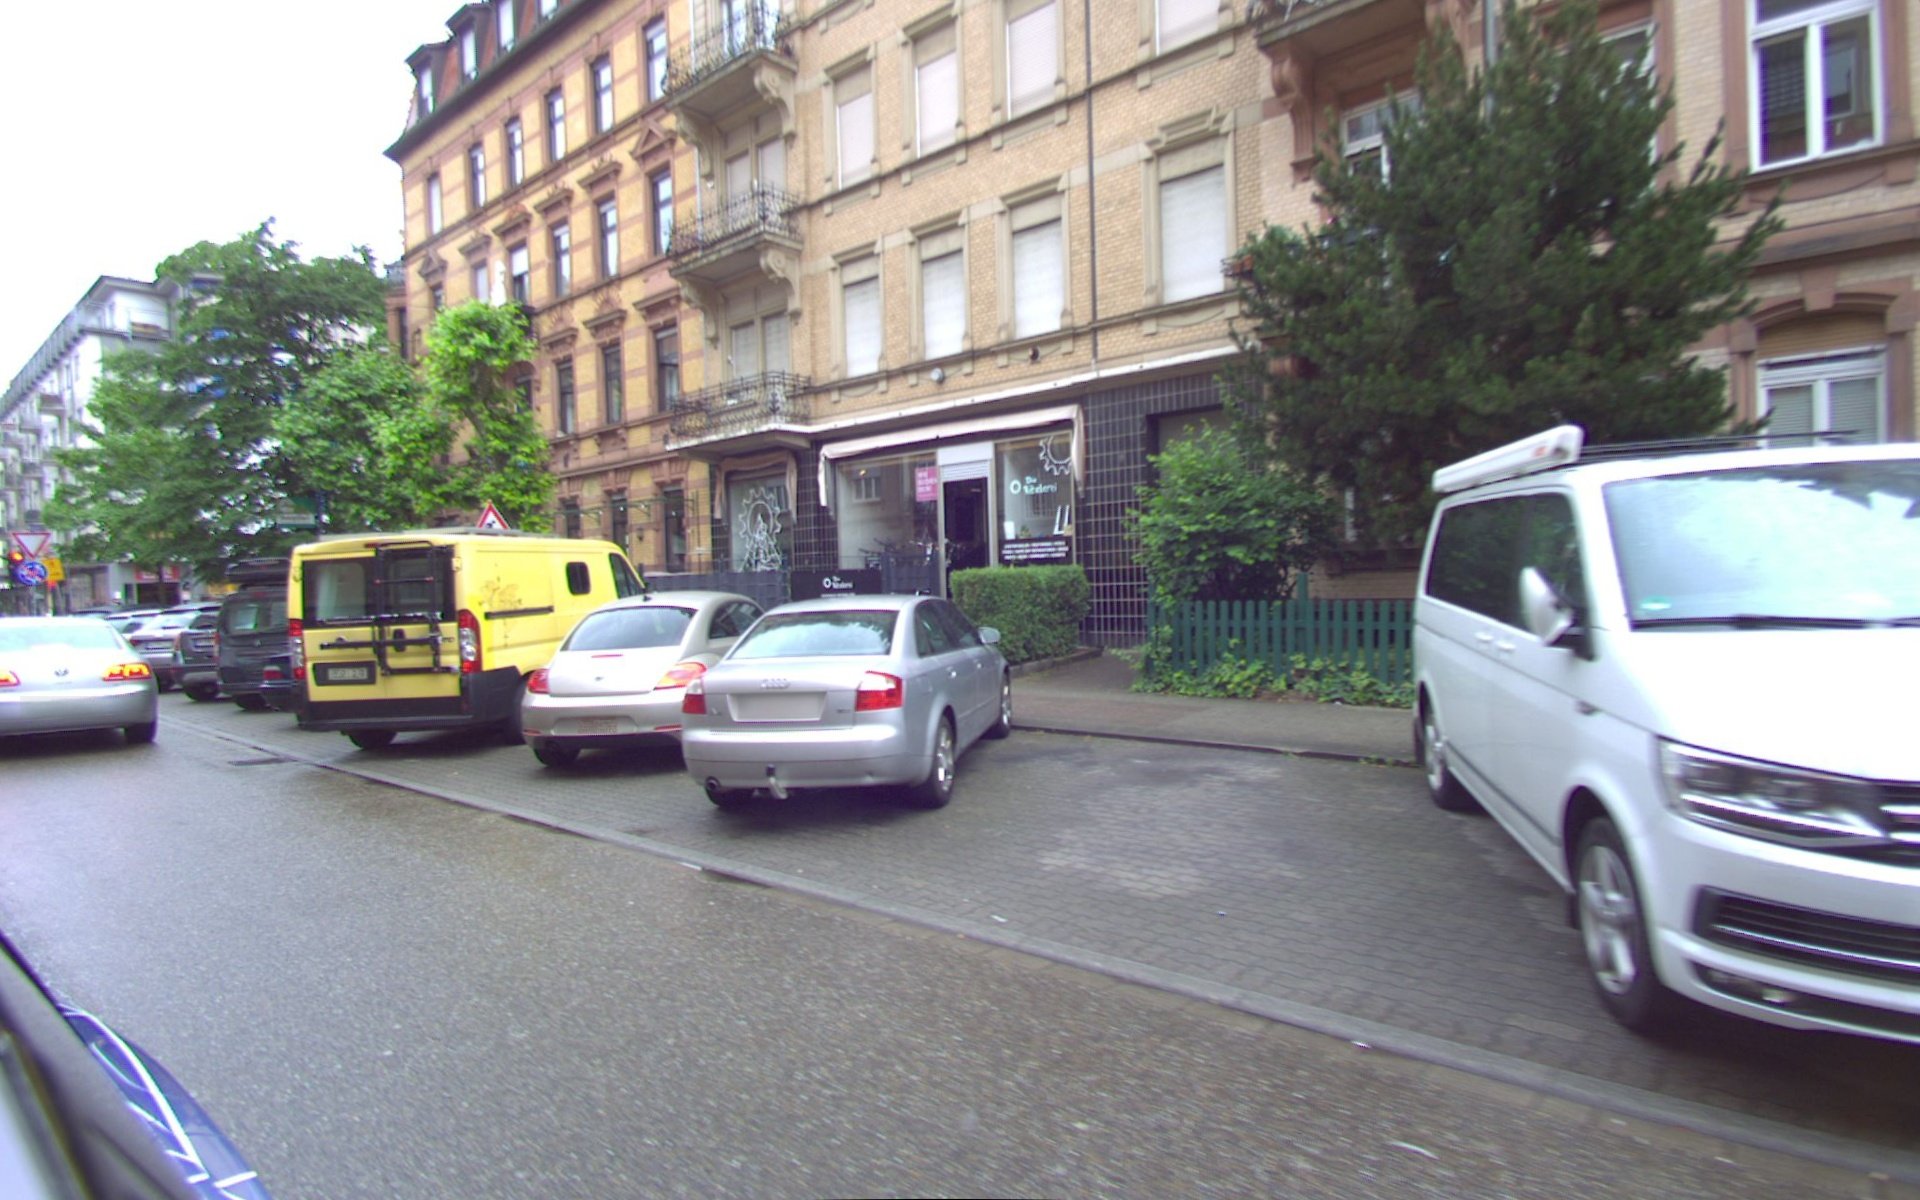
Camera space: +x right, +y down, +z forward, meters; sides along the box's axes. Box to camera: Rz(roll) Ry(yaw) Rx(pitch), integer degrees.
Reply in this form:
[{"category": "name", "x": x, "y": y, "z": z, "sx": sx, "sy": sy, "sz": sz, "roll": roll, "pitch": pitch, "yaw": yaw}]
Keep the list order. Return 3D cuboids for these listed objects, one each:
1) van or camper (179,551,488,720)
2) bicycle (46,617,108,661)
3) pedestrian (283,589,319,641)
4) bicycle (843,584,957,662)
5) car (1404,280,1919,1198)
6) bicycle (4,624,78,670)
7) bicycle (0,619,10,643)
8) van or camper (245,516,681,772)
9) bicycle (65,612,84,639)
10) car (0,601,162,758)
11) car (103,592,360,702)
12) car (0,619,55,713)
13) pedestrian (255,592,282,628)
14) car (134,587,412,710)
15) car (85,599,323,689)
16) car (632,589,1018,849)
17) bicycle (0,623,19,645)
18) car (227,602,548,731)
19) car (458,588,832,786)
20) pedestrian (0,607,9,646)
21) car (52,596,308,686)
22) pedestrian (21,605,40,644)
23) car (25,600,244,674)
[{"category": "van or camper", "x": -9.598, "y": 0.403, "z": 15.985, "sx": 1.915, "sy": 2.255, "sz": 4.075, "roll": -1, "pitch": 3, "yaw": 8}, {"category": "bicycle", "x": -24.090, "y": 1.060, "z": 27.608, "sx": 1.667, "sy": 1.152, "sz": 0.397, "roll": -1, "pitch": 1, "yaw": 16}, {"category": "pedestrian", "x": -26.388, "y": 0.578, "z": 40.551, "sx": 0.929, "sy": 2.029, "sz": 0.866, "roll": -2, "pitch": 1, "yaw": -14}, {"category": "bicycle", "x": -0.934, "y": 0.342, "z": 16.224, "sx": 0.631, "sy": 1.183, "sz": 2.018, "roll": -1, "pitch": 0, "yaw": 38}, {"category": "car", "x": 3.454, "y": 0.241, "z": 4.647, "sx": 1.853, "sy": 2.094, "sz": 5.227, "roll": -1, "pitch": 1, "yaw": 16}, {"category": "bicycle", "x": -24.651, "y": 1.261, "z": 27.141, "sx": 1.665, "sy": 1.152, "sz": 0.585, "roll": -1, "pitch": 1, "yaw": 13}, {"category": "bicycle", "x": -50.007, "y": 1.685, "z": 51.774, "sx": 1.994, "sy": 1.204, "sz": 0.551, "roll": -6, "pitch": 3, "yaw": -44}, {"category": "van or camper", "x": -5.300, "y": 0.327, "z": 11.758, "sx": 2.159, "sy": 2.284, "sz": 4.716, "roll": -3, "pitch": 2, "yaw": 8}, {"category": "bicycle", "x": -46.042, "y": 1.326, "z": 52.633, "sx": 2.023, "sy": 1.384, "sz": 0.444, "roll": -2, "pitch": 3, "yaw": 43}, {"category": "car", "x": -10.977, "y": 0.911, "z": 11.867, "sx": 4.582, "sy": 1.505, "sz": 1.776, "roll": -4, "pitch": 0, "yaw": 42}, {"category": "car", "x": -14.030, "y": 0.820, "z": 19.841, "sx": 1.778, "sy": 1.674, "sz": 4.134, "roll": -2, "pitch": 3, "yaw": 4}, {"category": "car", "x": -17.167, "y": 1.098, "z": 17.390, "sx": 4.134, "sy": 1.505, "sz": 1.778, "roll": -2, "pitch": -2, "yaw": 39}, {"category": "pedestrian", "x": -32.036, "y": 0.442, "z": 46.885, "sx": 0.786, "sy": 1.627, "sz": 0.606, "roll": -2, "pitch": 2, "yaw": -14}, {"category": "car", "x": -11.721, "y": 0.727, "z": 17.680, "sx": 1.778, "sy": 1.674, "sz": 4.134, "roll": -1, "pitch": 3, "yaw": 4}, {"category": "car", "x": -16.181, "y": 0.877, "z": 21.972, "sx": 1.779, "sy": 1.504, "sz": 4.133, "roll": -1, "pitch": 3, "yaw": 5}, {"category": "car", "x": -0.723, "y": 0.683, "z": 7.954, "sx": 1.766, "sy": 1.446, "sz": 3.985, "roll": -1, "pitch": 1, "yaw": 12}, {"category": "bicycle", "x": -47.088, "y": 1.704, "z": 49.151, "sx": 0.658, "sy": 1.041, "sz": 1.879, "roll": -2, "pitch": 3, "yaw": 26}, {"category": "car", "x": -7.627, "y": 0.833, "z": 13.989, "sx": 1.806, "sy": 1.506, "sz": 3.989, "roll": -1, "pitch": -1, "yaw": 9}, {"category": "car", "x": -2.788, "y": 0.685, "z": 10.000, "sx": 1.941, "sy": 1.506, "sz": 3.907, "roll": -1, "pitch": 1, "yaw": 10}, {"category": "pedestrian", "x": -47.025, "y": 1.298, "z": 49.370, "sx": 0.850, "sy": 1.862, "sz": 0.770, "roll": -3, "pitch": 1, "yaw": -41}, {"category": "car", "x": -18.068, "y": 0.869, "z": 23.812, "sx": 1.976, "sy": 1.574, "sz": 4.717, "roll": -3, "pitch": 2, "yaw": 6}, {"category": "pedestrian", "x": -45.437, "y": 1.180, "z": 49.463, "sx": 0.595, "sy": 1.862, "sz": 0.770, "roll": -3, "pitch": 1, "yaw": -41}, {"category": "car", "x": -21.731, "y": 0.905, "z": 26.941, "sx": 1.974, "sy": 1.575, "sz": 4.453, "roll": -1, "pitch": 3, "yaw": 4}]
